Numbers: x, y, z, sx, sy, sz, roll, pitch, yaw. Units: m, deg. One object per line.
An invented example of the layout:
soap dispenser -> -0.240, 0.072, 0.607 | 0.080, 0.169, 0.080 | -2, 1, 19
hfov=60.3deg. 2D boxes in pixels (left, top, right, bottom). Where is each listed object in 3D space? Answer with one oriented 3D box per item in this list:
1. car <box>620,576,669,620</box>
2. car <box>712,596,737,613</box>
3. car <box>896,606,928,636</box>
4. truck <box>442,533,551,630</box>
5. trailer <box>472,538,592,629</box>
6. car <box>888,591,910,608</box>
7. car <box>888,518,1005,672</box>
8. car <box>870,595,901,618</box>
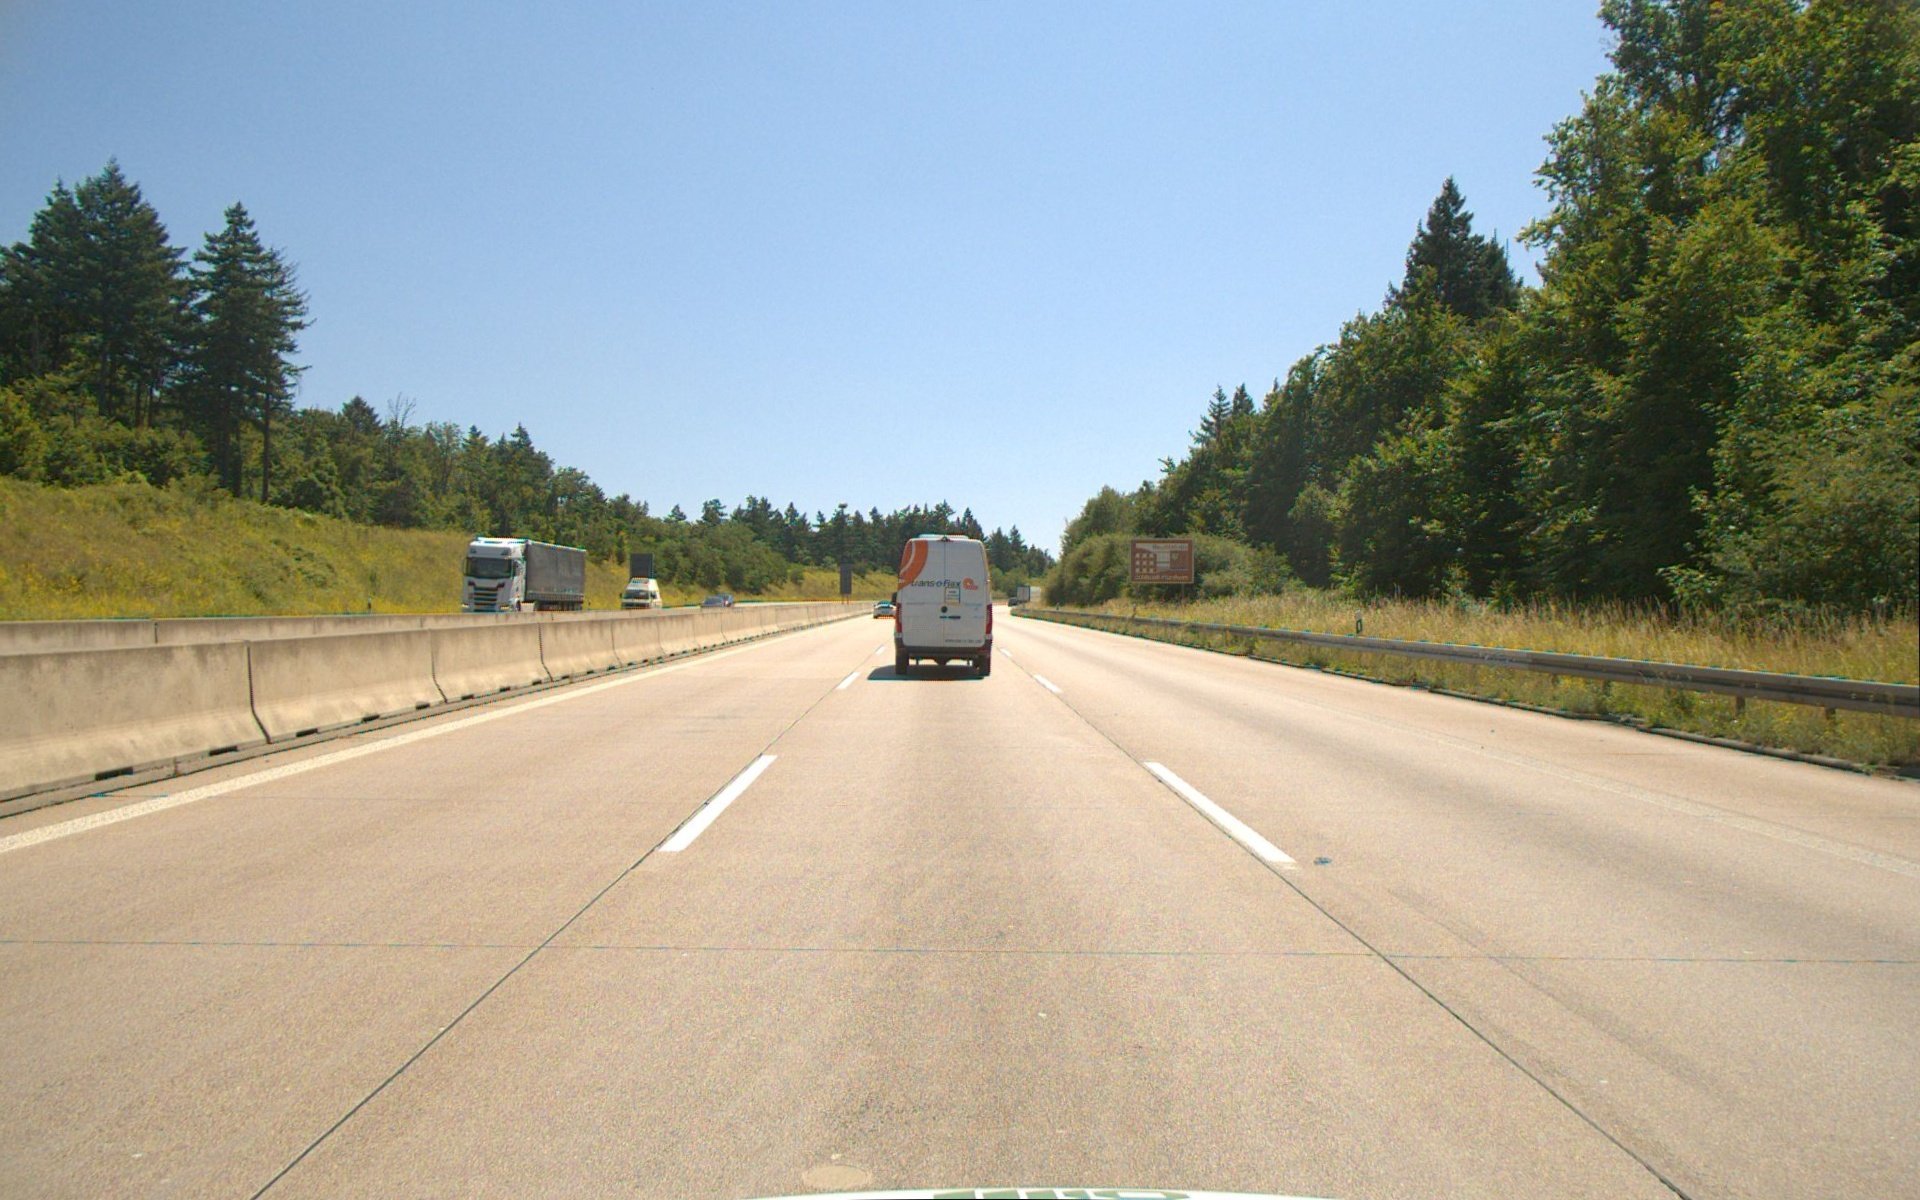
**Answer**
car -> -18.816, -0.107, 98.912 | 1.953, 2.529, 5.178 | 1, 0, -1
car -> -23.522, 0.474, 165.206 | 1.953, 1.611, 4.041 | 0, 0, -1
car -> -2.983, 1.284, 102.779 | 1.953, 1.825, 3.999 | 1, -1, -1
truck -> -23.070, -0.829, 82.820 | 3.190, 4.583, 7.984 | 1, -1, -1
trailer -> -23.122, -0.781, 90.251 | 3.190, 4.583, 13.117 | 1, -1, -1
car -> -6.389, -0.059, 174.318 | 1.952, 1.713, 4.001 | 1, -1, 3
car -> -0.315, -0.094, 34.183 | 2.181, 2.894, 5.452 | 1, 0, -1
car -> -5.616, 0.502, 124.736 | 1.952, 1.713, 4.001 | 1, -1, 3
